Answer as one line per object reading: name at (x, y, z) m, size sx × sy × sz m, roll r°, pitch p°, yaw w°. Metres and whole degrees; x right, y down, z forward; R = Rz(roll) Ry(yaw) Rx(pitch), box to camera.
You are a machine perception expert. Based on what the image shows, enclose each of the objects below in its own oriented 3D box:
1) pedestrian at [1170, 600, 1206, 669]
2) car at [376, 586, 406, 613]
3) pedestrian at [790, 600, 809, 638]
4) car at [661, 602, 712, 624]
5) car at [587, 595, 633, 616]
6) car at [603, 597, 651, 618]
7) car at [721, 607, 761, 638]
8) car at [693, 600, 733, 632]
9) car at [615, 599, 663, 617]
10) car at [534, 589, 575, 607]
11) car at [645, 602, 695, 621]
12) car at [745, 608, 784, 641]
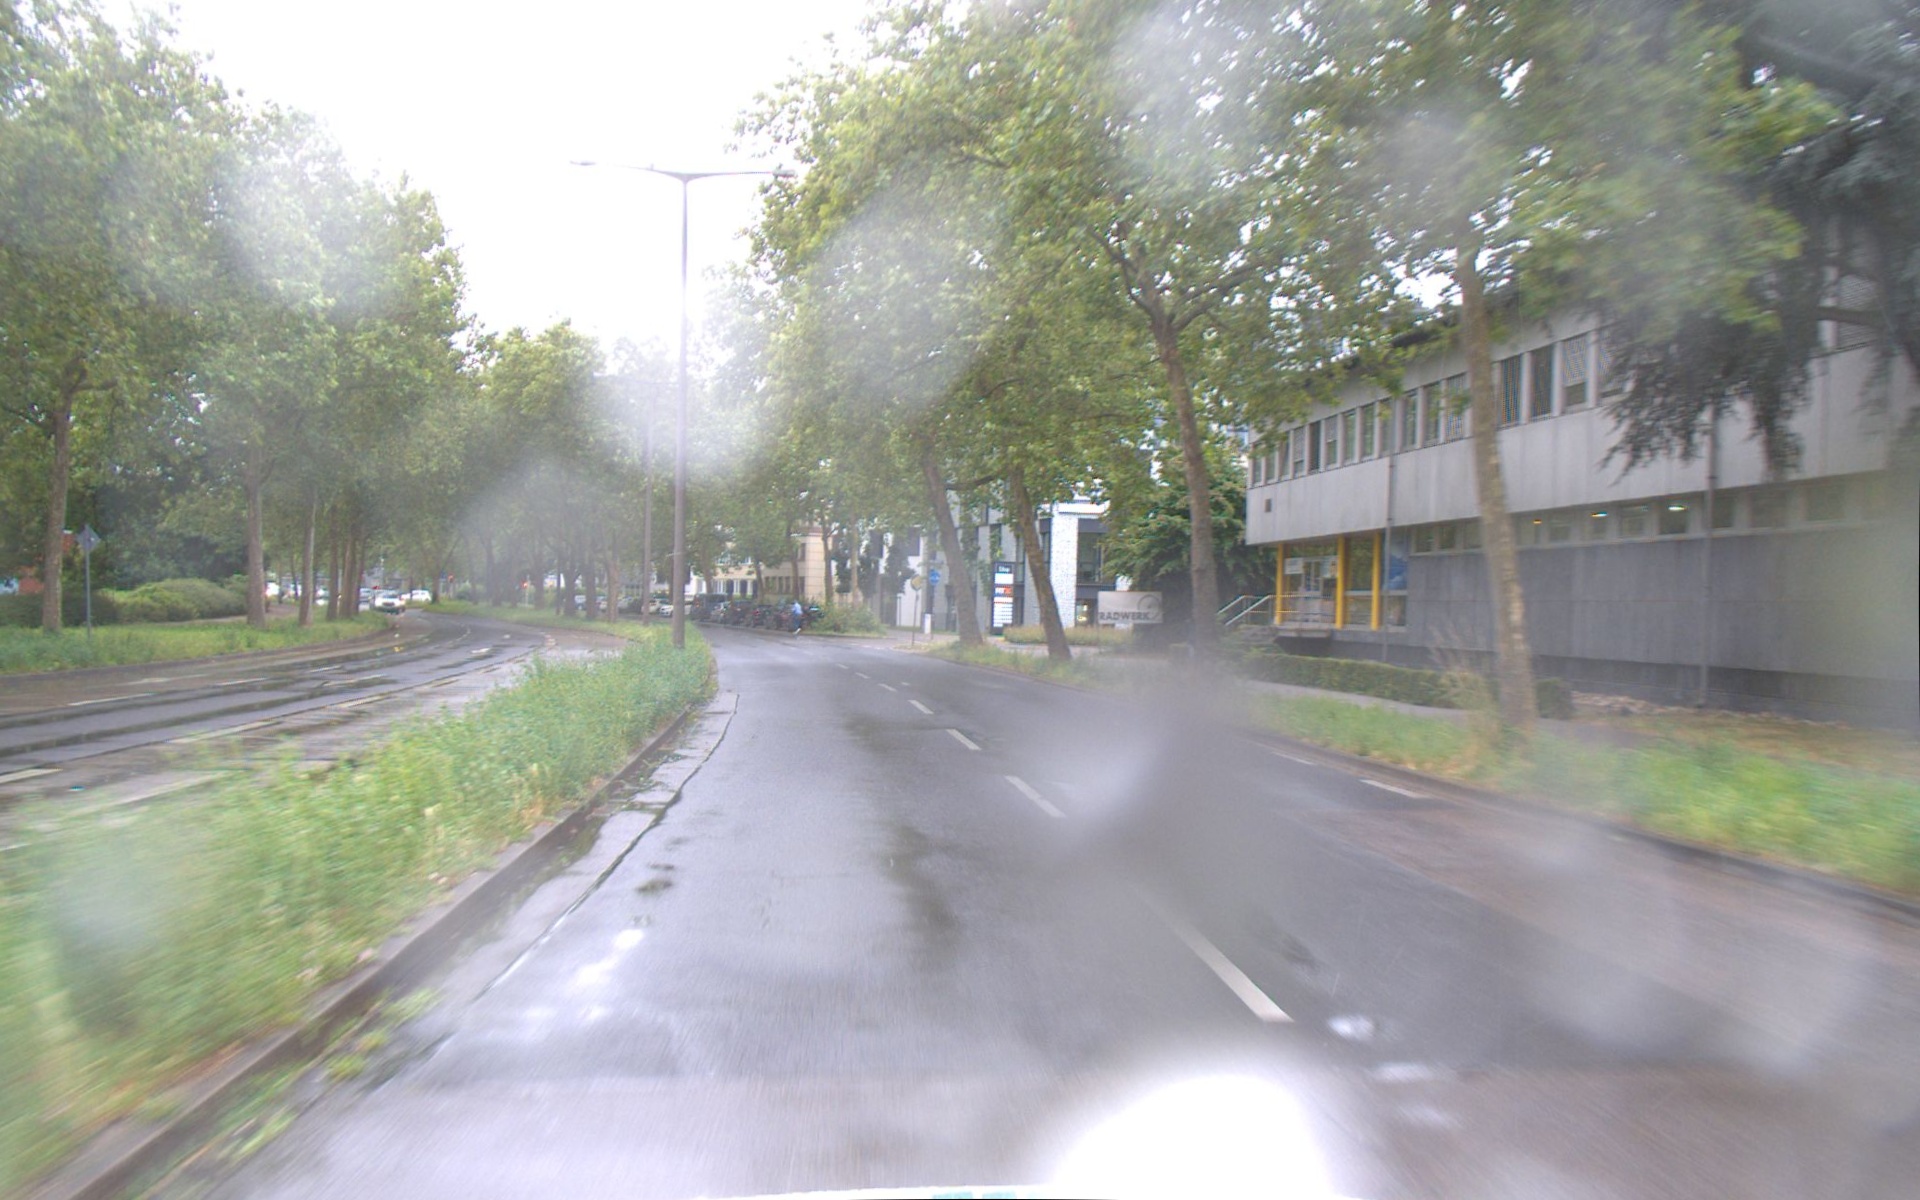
pedestrian at (5.763, 0.871, 41.830) m, size 0.658 × 1.697 × 0.824 m, roll 2°, pitch 1°, yaw -6°
car at (-46.767, -0.086, 135.856) m, size 1.955 × 2.048 × 3.970 m, roll 1°, pitch 1°, yaw -24°
pedestrian at (-8.533, 0.990, 88.152) m, size 0.691 × 1.984 × 0.857 m, roll 2°, pitch 1°, yaw 15°
car at (-22.746, 1.058, 137.521) m, size 3.818 × 1.679 × 1.873 m, roll 1°, pitch 1°, yaw -25°
car at (-33.660, 0.523, 158.990) m, size 3.944 × 1.851 × 1.981 m, roll 1°, pitch 1°, yaw -30°
car at (-30.994, 0.684, 154.066) m, size 3.949 × 1.863 × 1.978 m, roll 1°, pitch 1°, yaw -33°
car at (-14.395, 1.445, 108.562) m, size 1.962 × 1.814 × 3.981 m, roll 2°, pitch 1°, yaw -17°
car at (-17.952, 1.124, 120.079) m, size 2.090 × 2.124 × 3.978 m, roll 2°, pitch 1°, yaw -19°
car at (-28.971, 0.727, 149.375) m, size 3.827 × 1.530 × 1.869 m, roll 1°, pitch 1°, yaw -30°
car at (-44.291, -0.217, 180.805) m, size 3.944 × 1.851 × 1.981 m, roll 1°, pitch 1°, yaw -30°
car at (-24.685, 0.966, 140.900) m, size 3.827 × 1.519 × 1.869 m, roll 1°, pitch 1°, yaw -30°
car at (-12.053, 1.506, 101.810) m, size 1.959 × 1.814 × 3.988 m, roll 2°, pitch 1°, yaw -12°
